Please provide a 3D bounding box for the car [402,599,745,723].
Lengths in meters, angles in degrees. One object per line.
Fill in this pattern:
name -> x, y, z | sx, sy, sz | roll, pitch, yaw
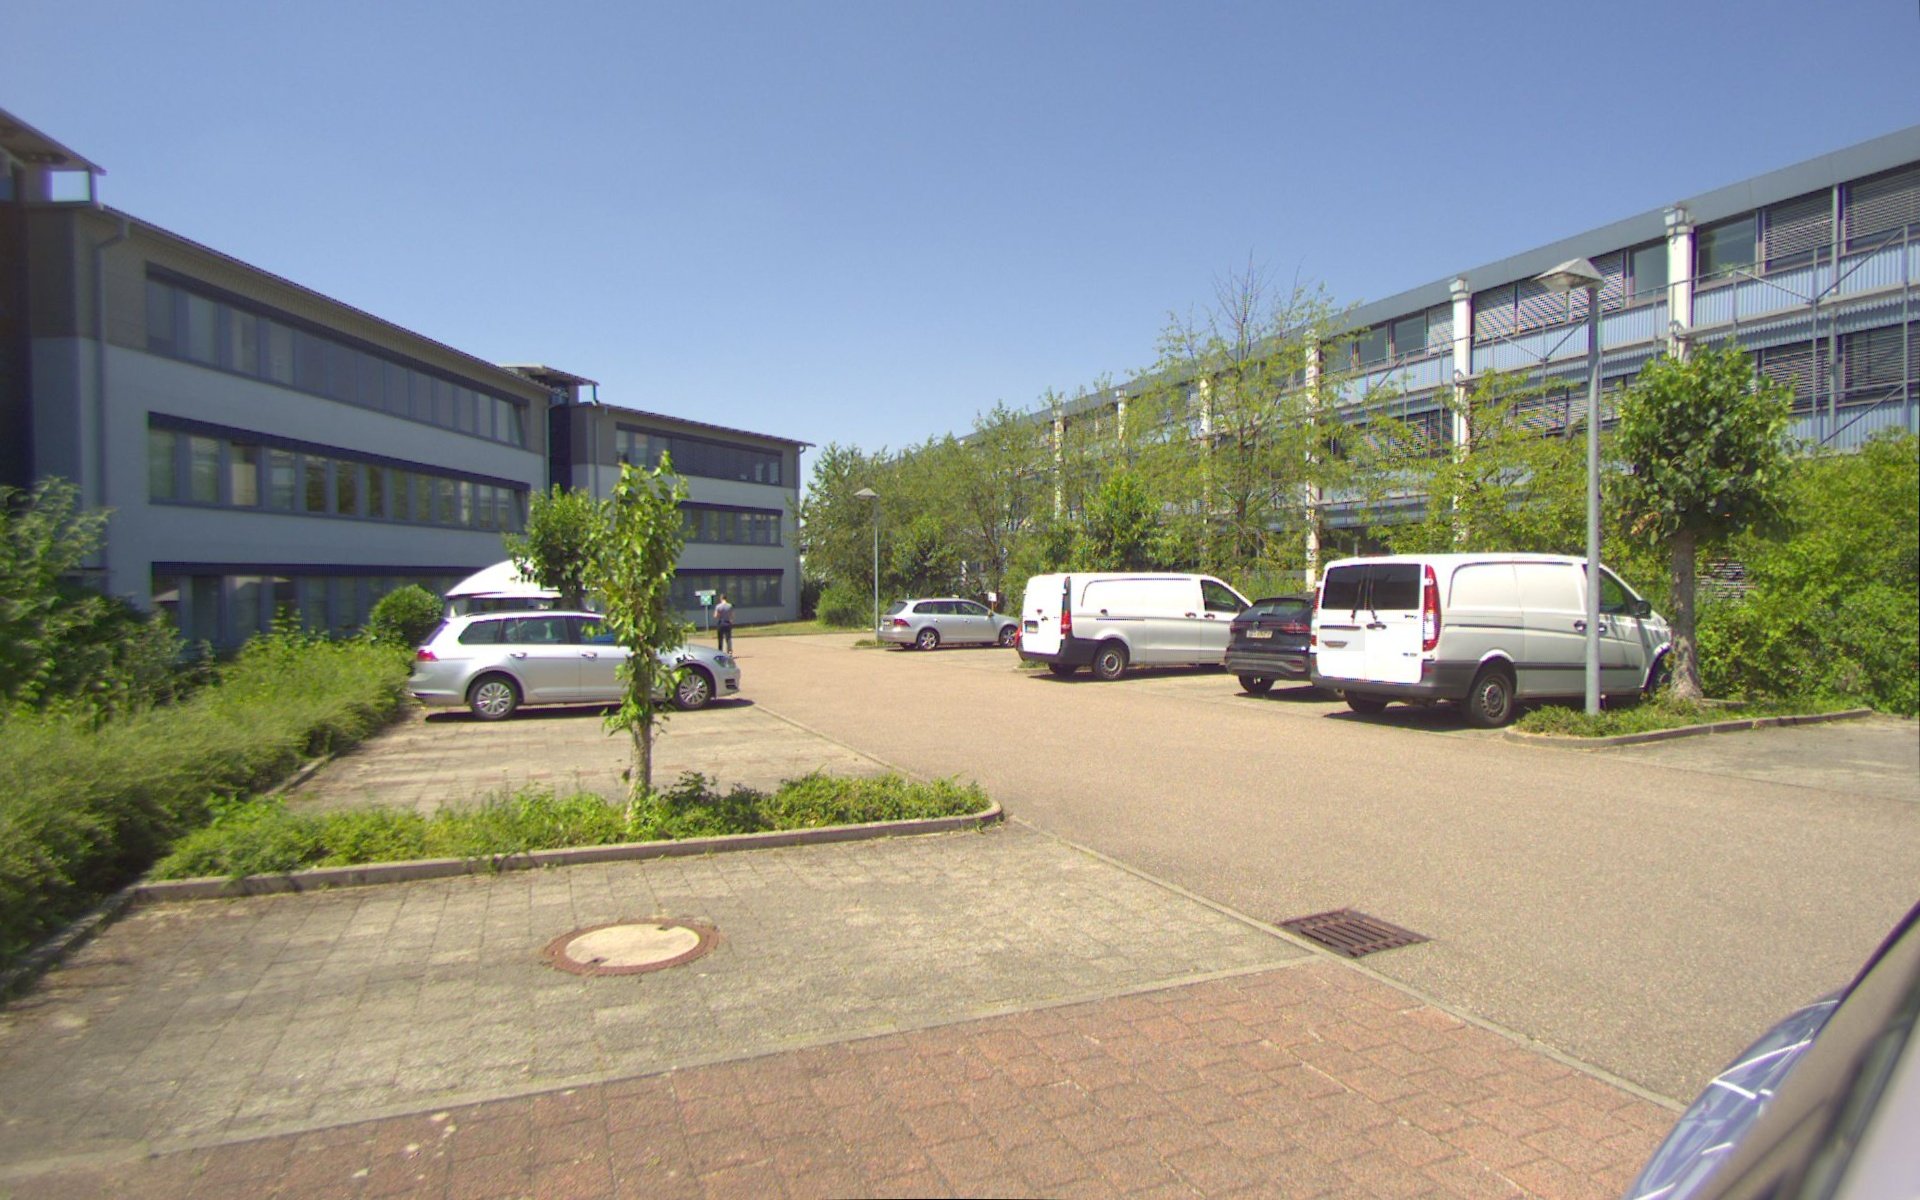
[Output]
car -> -5.465, 0.770, 14.562 | 4.335, 1.539, 1.860 | 0, 0, -24

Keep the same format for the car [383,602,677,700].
car -> -7.413, 0.809, 17.725 | 4.517, 1.513, 1.860 | 0, 0, -24

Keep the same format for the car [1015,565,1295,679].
car -> 3.629, 0.338, 18.792 | 4.832, 1.879, 1.860 | -1, 0, -22

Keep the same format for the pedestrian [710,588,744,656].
pedestrian -> -6.232, 0.573, 27.053 | 0.684, 1.779, 0.778 | -2, 1, -27

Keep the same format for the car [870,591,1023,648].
car -> -0.398, 0.531, 29.086 | 3.999, 1.503, 1.743 | -1, 0, -21

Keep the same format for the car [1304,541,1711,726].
car -> 6.572, 0.305, 12.118 | 4.580, 1.883, 1.871 | -1, 0, -25

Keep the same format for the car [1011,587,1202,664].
car -> 3.220, 0.513, 22.223 | 3.839, 1.507, 1.628 | -1, 0, -22

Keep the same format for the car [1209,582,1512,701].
car -> 5.875, 0.523, 14.822 | 4.111, 1.503, 1.742 | -1, 0, -25
